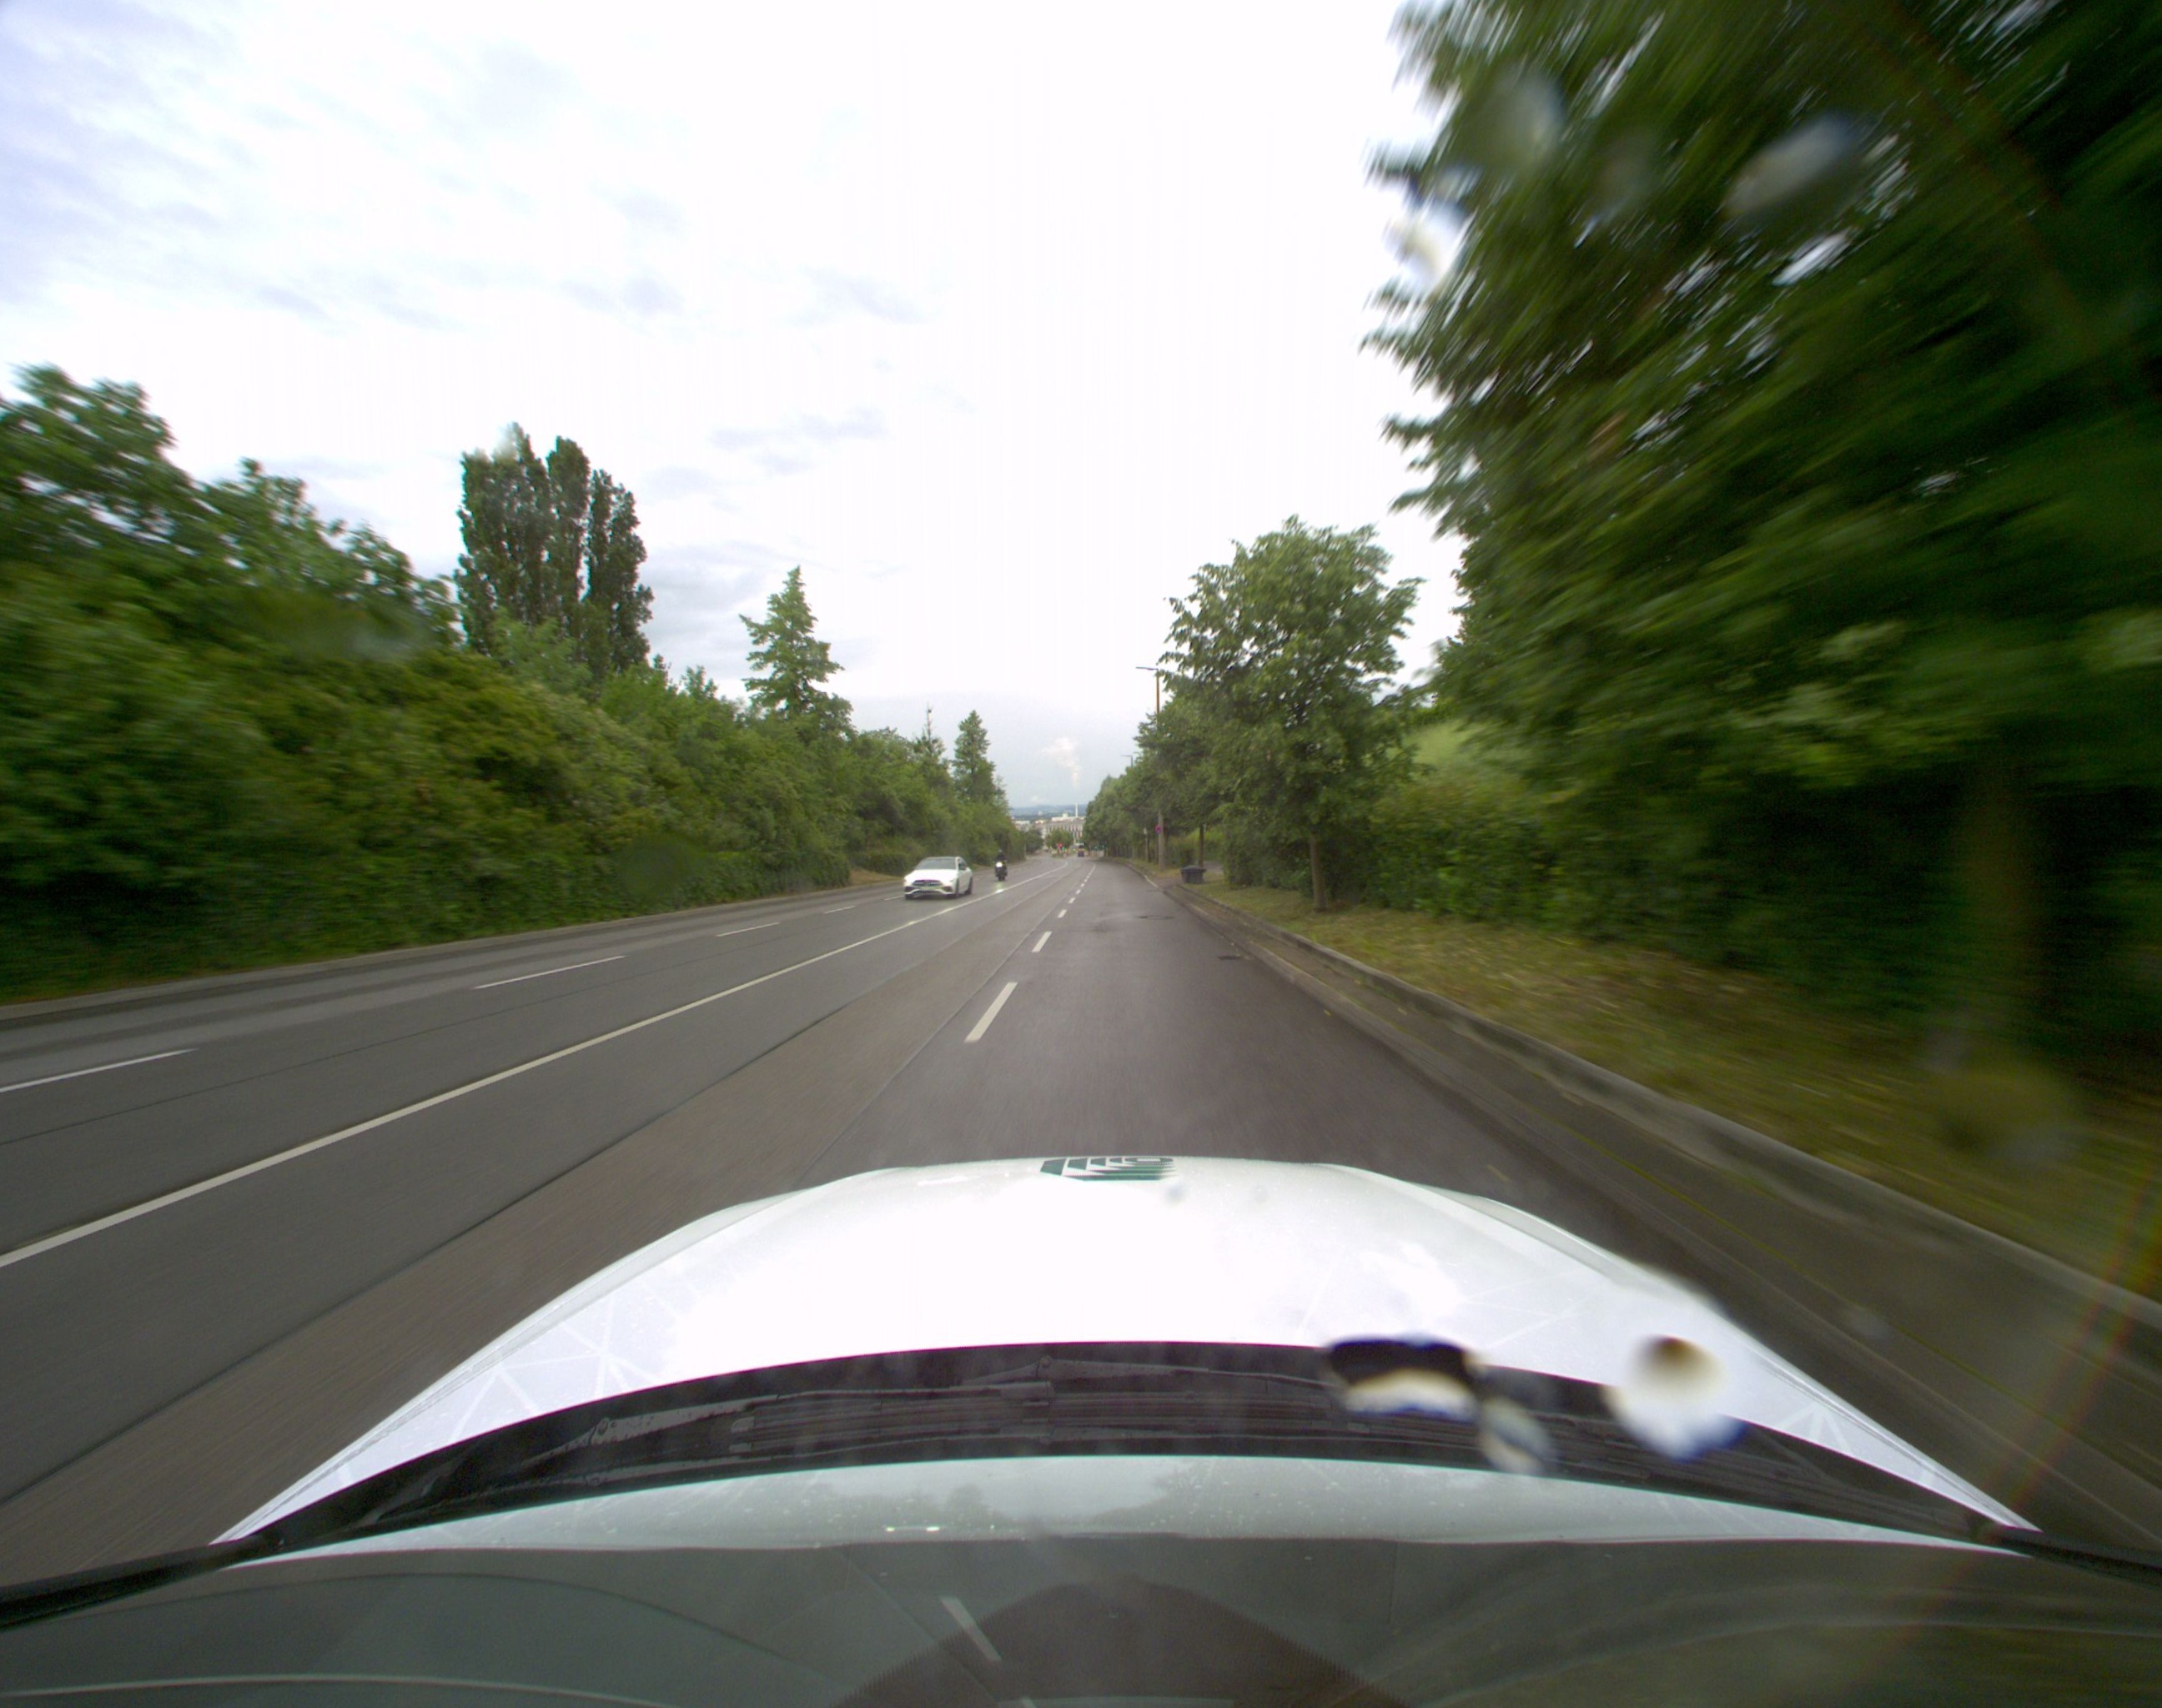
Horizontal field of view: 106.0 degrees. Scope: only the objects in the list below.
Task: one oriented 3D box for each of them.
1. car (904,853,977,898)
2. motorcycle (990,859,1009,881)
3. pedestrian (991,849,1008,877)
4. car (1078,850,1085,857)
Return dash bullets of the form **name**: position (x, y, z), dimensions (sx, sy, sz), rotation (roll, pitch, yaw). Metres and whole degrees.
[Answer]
- **car**: position (-5.058, 0.727, 29.892), dimensions (1.708, 1.505, 4.518), rotation (0, 0, 2)
- **motorcycle**: position (-4.597, 0.891, 46.071), dimensions (0.802, 1.131, 2.232), rotation (-1, 0, 2)
- **pedestrian**: position (-4.604, 0.525, 46.091), dimensions (0.802, 1.541, 1.112), rotation (-1, 0, 2)
- **car**: position (0.186, -0.205, 220.299), dimensions (1.844, 1.702, 3.791), rotation (0, -1, -1)
